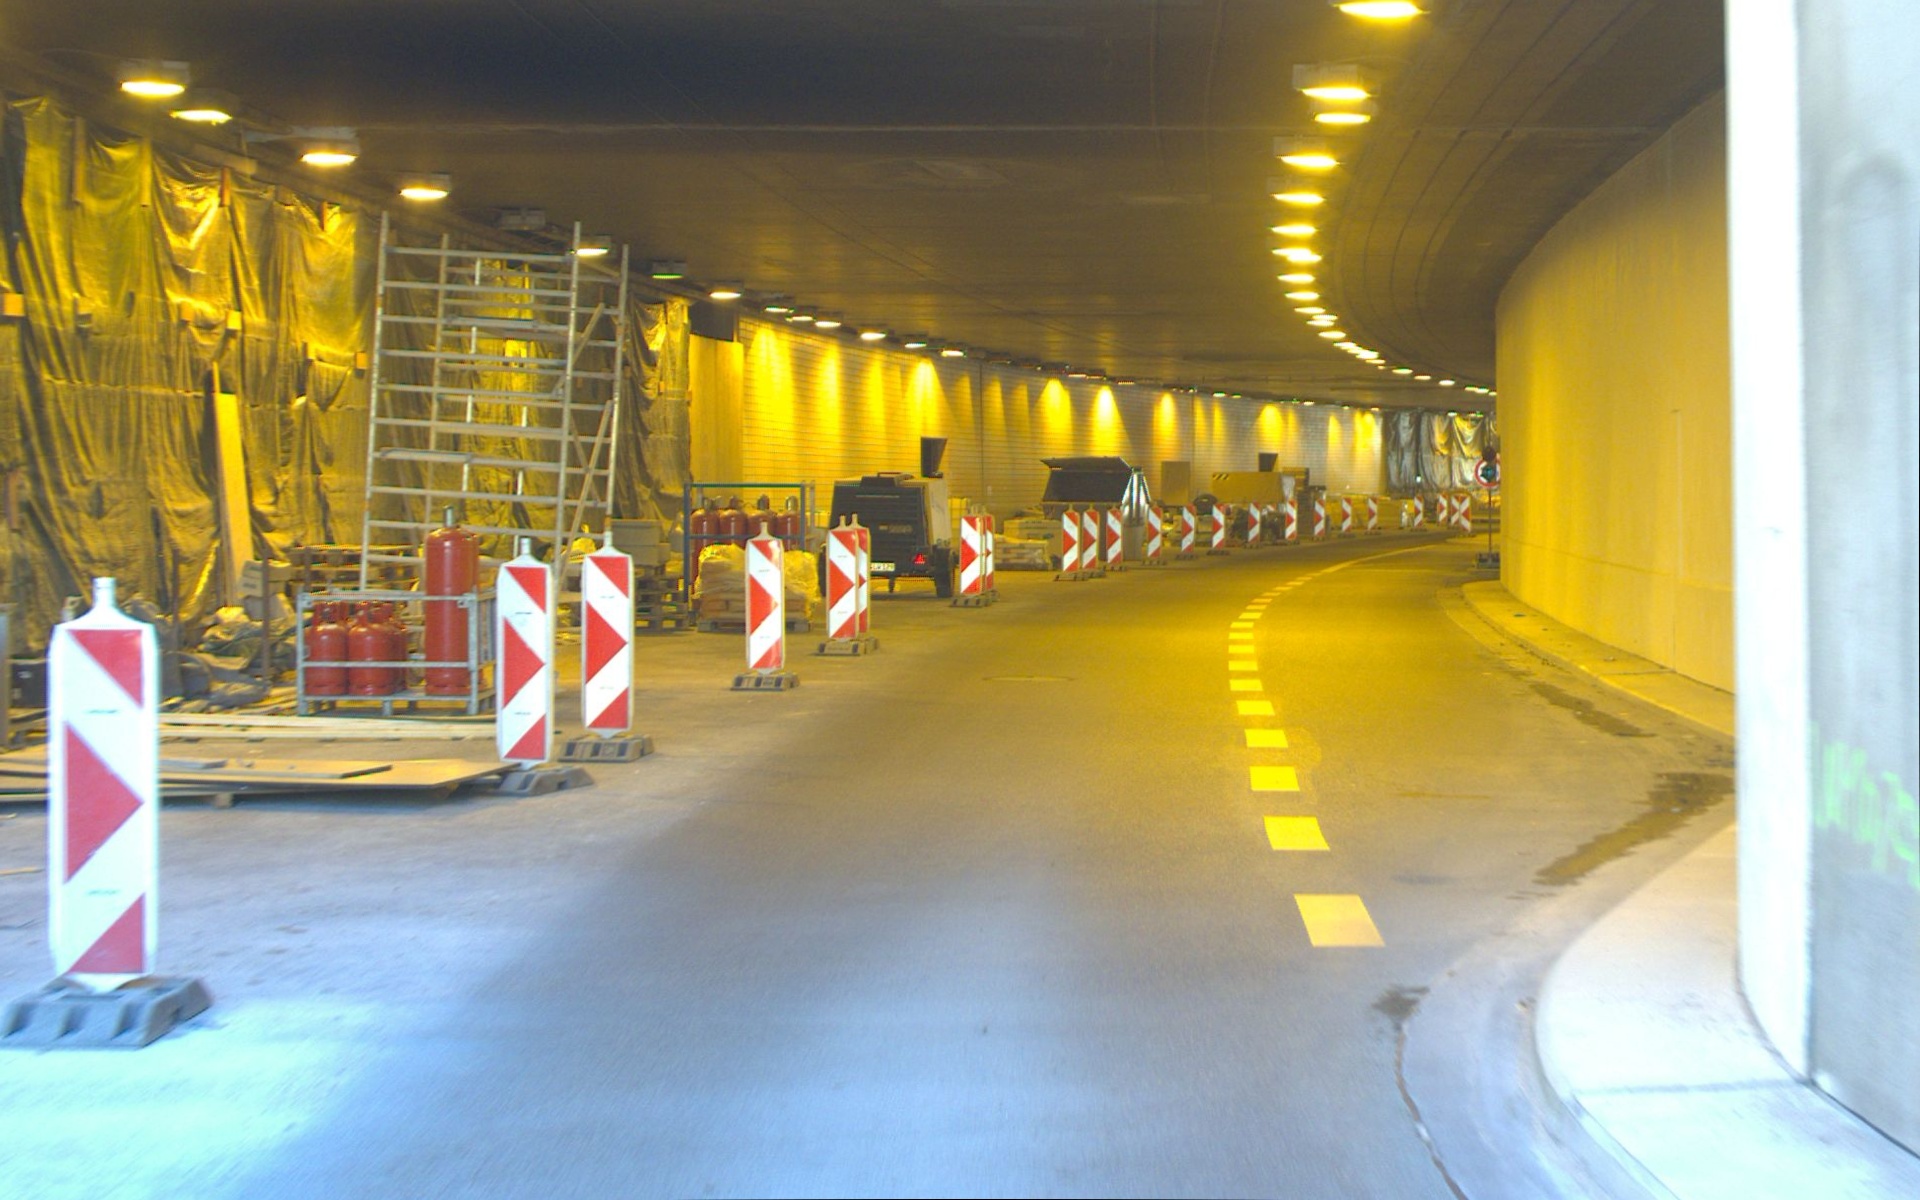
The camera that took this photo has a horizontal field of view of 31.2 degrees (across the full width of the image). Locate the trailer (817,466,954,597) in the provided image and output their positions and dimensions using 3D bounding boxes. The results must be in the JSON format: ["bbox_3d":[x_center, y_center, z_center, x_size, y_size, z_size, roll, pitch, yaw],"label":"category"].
[{"bbox_3d":[-1.033,-0.988,49.096,1.581,1.792,2.939,1,2,6],"label":"trailer"}]
